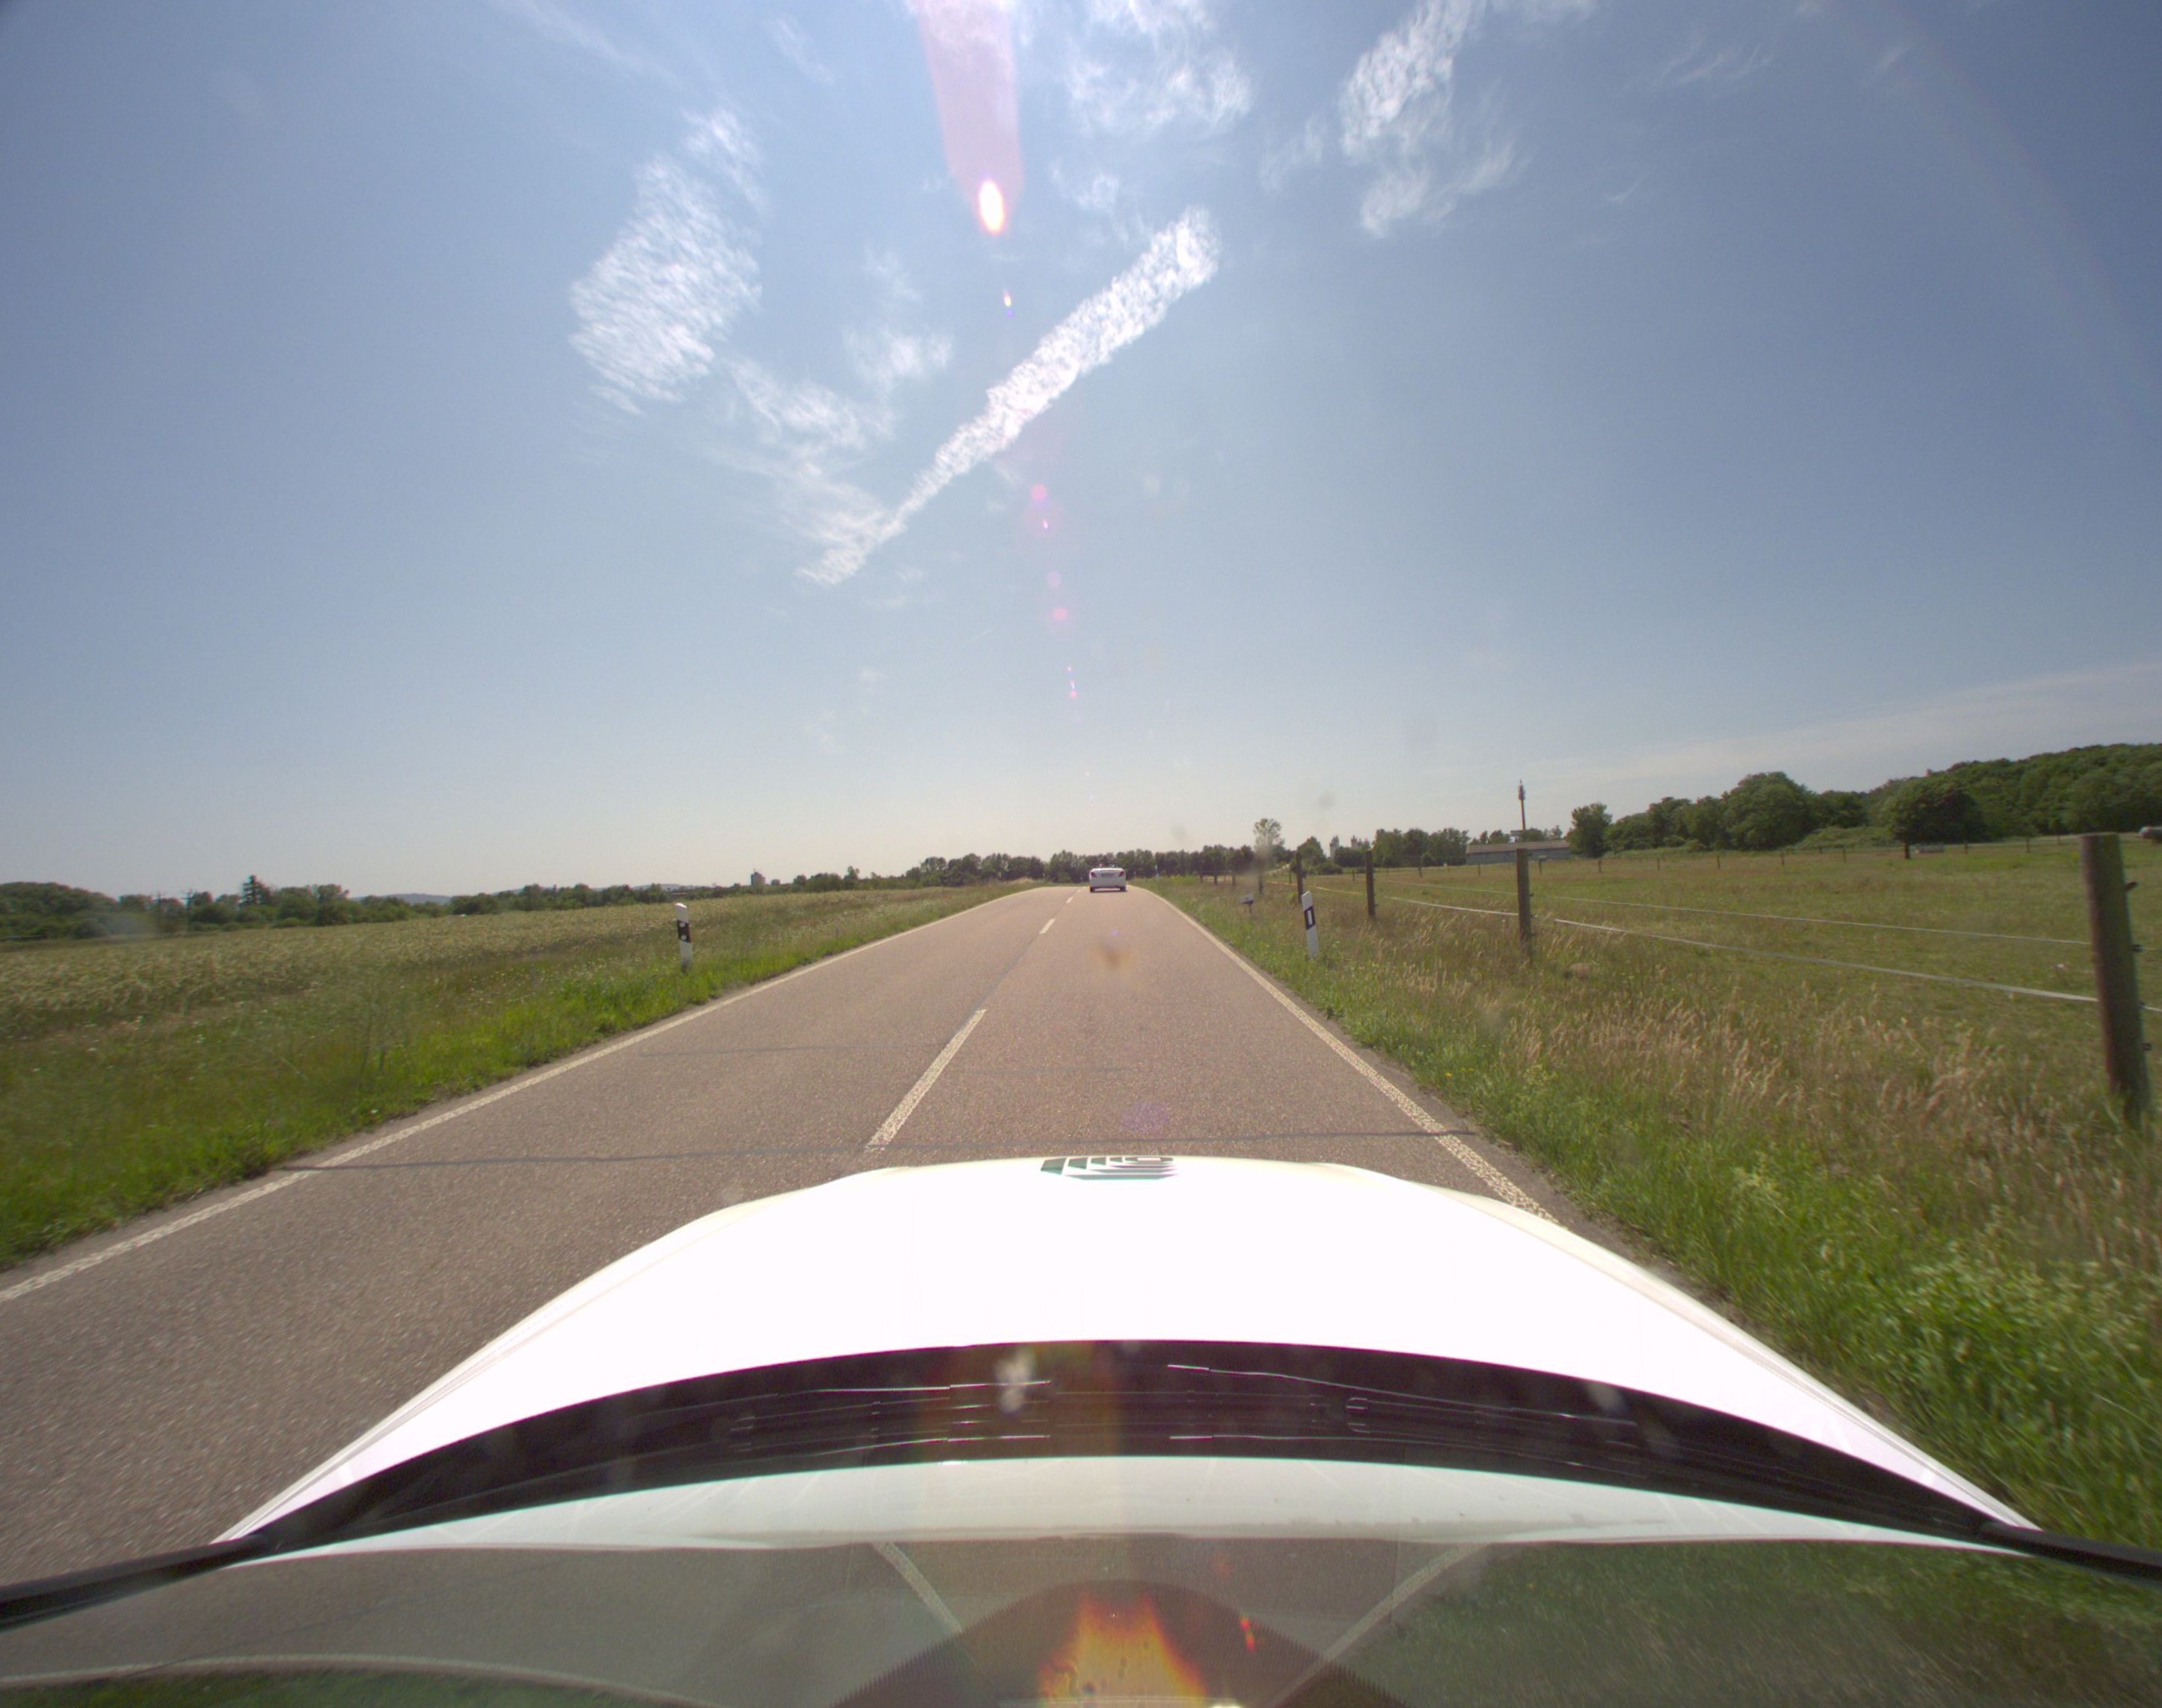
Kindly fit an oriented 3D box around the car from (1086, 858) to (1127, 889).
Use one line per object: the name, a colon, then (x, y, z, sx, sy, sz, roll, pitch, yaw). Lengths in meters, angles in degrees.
car: (1.254, 0.915, 39.175, 1.844, 1.379, 4.001, -1, -1, 2)
